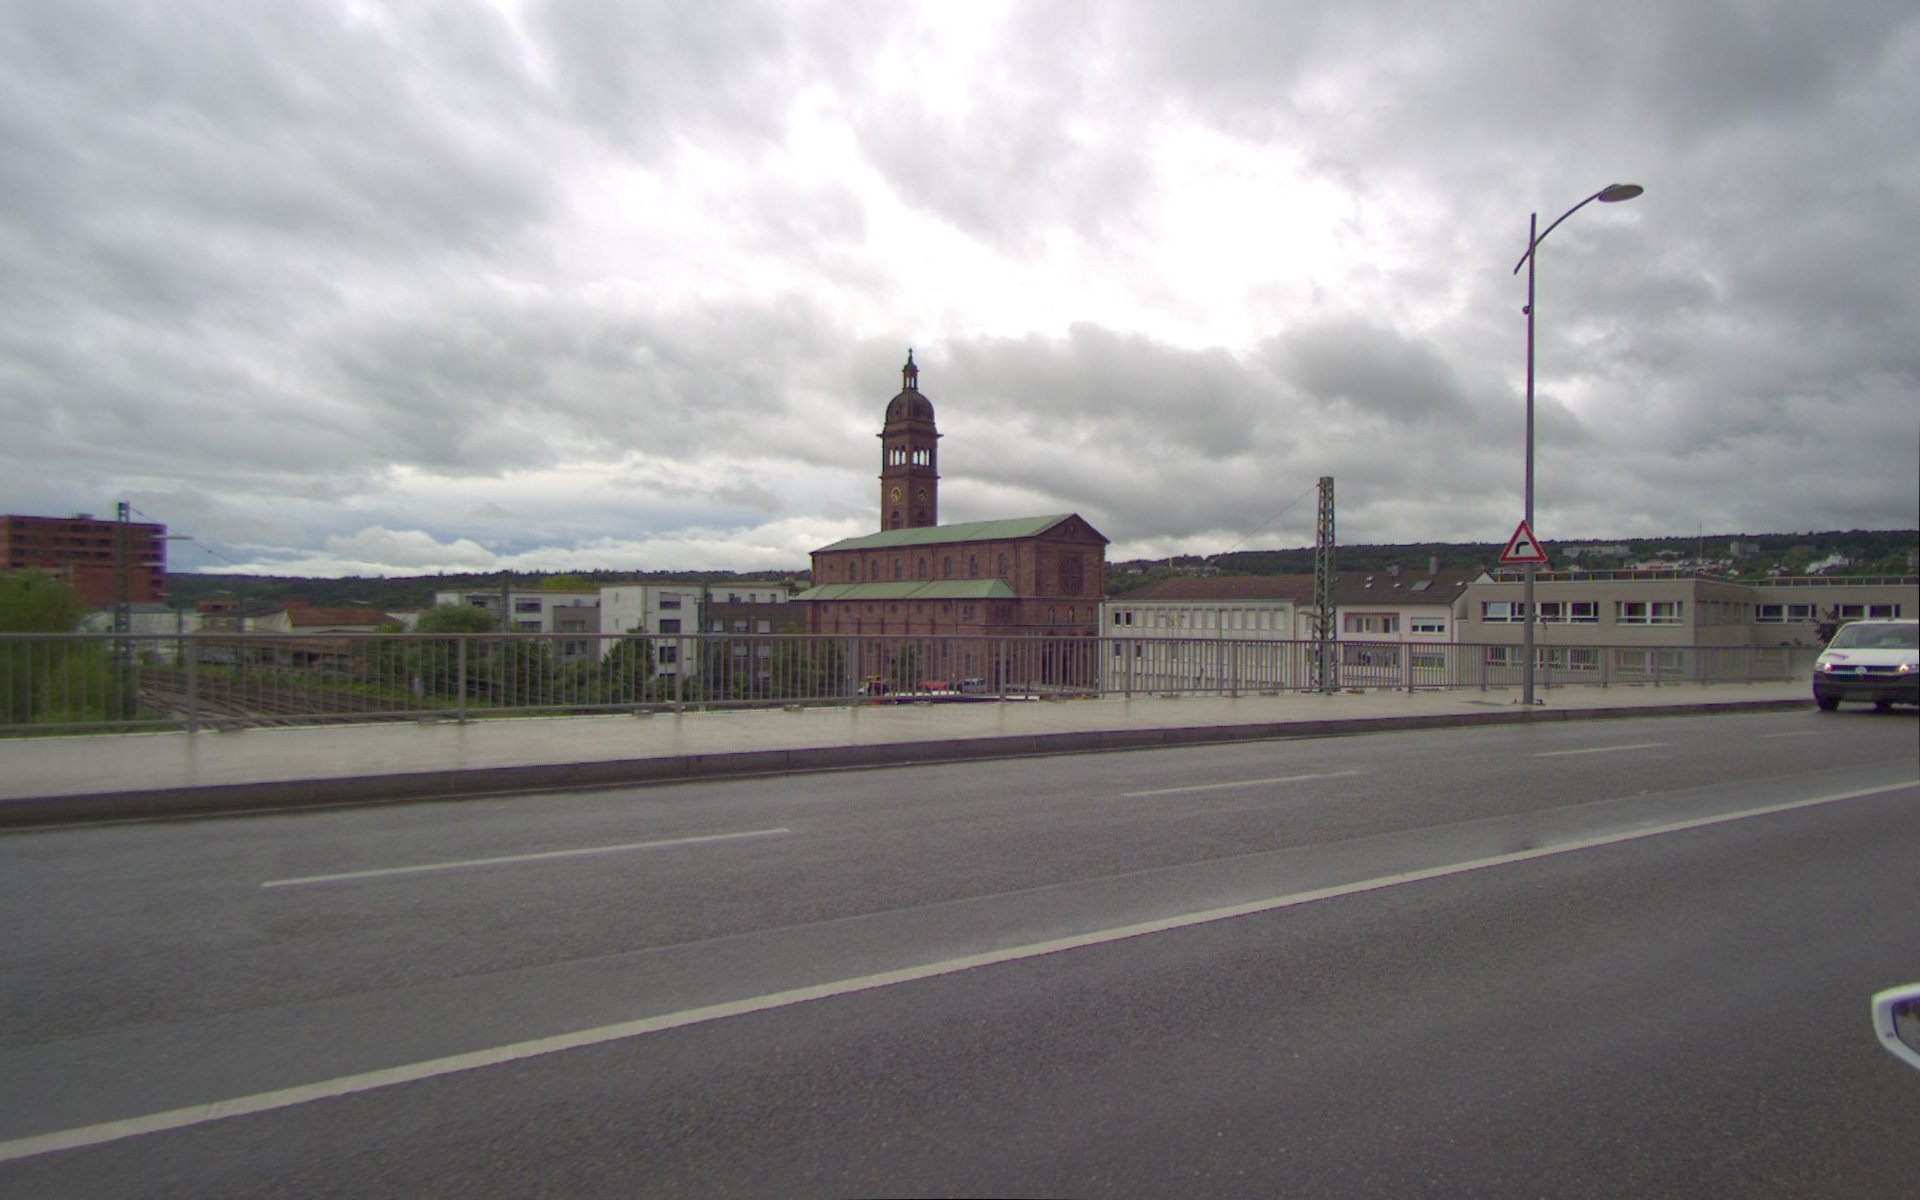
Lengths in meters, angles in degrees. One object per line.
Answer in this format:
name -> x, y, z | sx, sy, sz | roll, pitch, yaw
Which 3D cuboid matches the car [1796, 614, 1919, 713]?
car -> 19.976, 1.315, 21.282 | 4.899, 1.846, 1.878 | 2, 0, -30
